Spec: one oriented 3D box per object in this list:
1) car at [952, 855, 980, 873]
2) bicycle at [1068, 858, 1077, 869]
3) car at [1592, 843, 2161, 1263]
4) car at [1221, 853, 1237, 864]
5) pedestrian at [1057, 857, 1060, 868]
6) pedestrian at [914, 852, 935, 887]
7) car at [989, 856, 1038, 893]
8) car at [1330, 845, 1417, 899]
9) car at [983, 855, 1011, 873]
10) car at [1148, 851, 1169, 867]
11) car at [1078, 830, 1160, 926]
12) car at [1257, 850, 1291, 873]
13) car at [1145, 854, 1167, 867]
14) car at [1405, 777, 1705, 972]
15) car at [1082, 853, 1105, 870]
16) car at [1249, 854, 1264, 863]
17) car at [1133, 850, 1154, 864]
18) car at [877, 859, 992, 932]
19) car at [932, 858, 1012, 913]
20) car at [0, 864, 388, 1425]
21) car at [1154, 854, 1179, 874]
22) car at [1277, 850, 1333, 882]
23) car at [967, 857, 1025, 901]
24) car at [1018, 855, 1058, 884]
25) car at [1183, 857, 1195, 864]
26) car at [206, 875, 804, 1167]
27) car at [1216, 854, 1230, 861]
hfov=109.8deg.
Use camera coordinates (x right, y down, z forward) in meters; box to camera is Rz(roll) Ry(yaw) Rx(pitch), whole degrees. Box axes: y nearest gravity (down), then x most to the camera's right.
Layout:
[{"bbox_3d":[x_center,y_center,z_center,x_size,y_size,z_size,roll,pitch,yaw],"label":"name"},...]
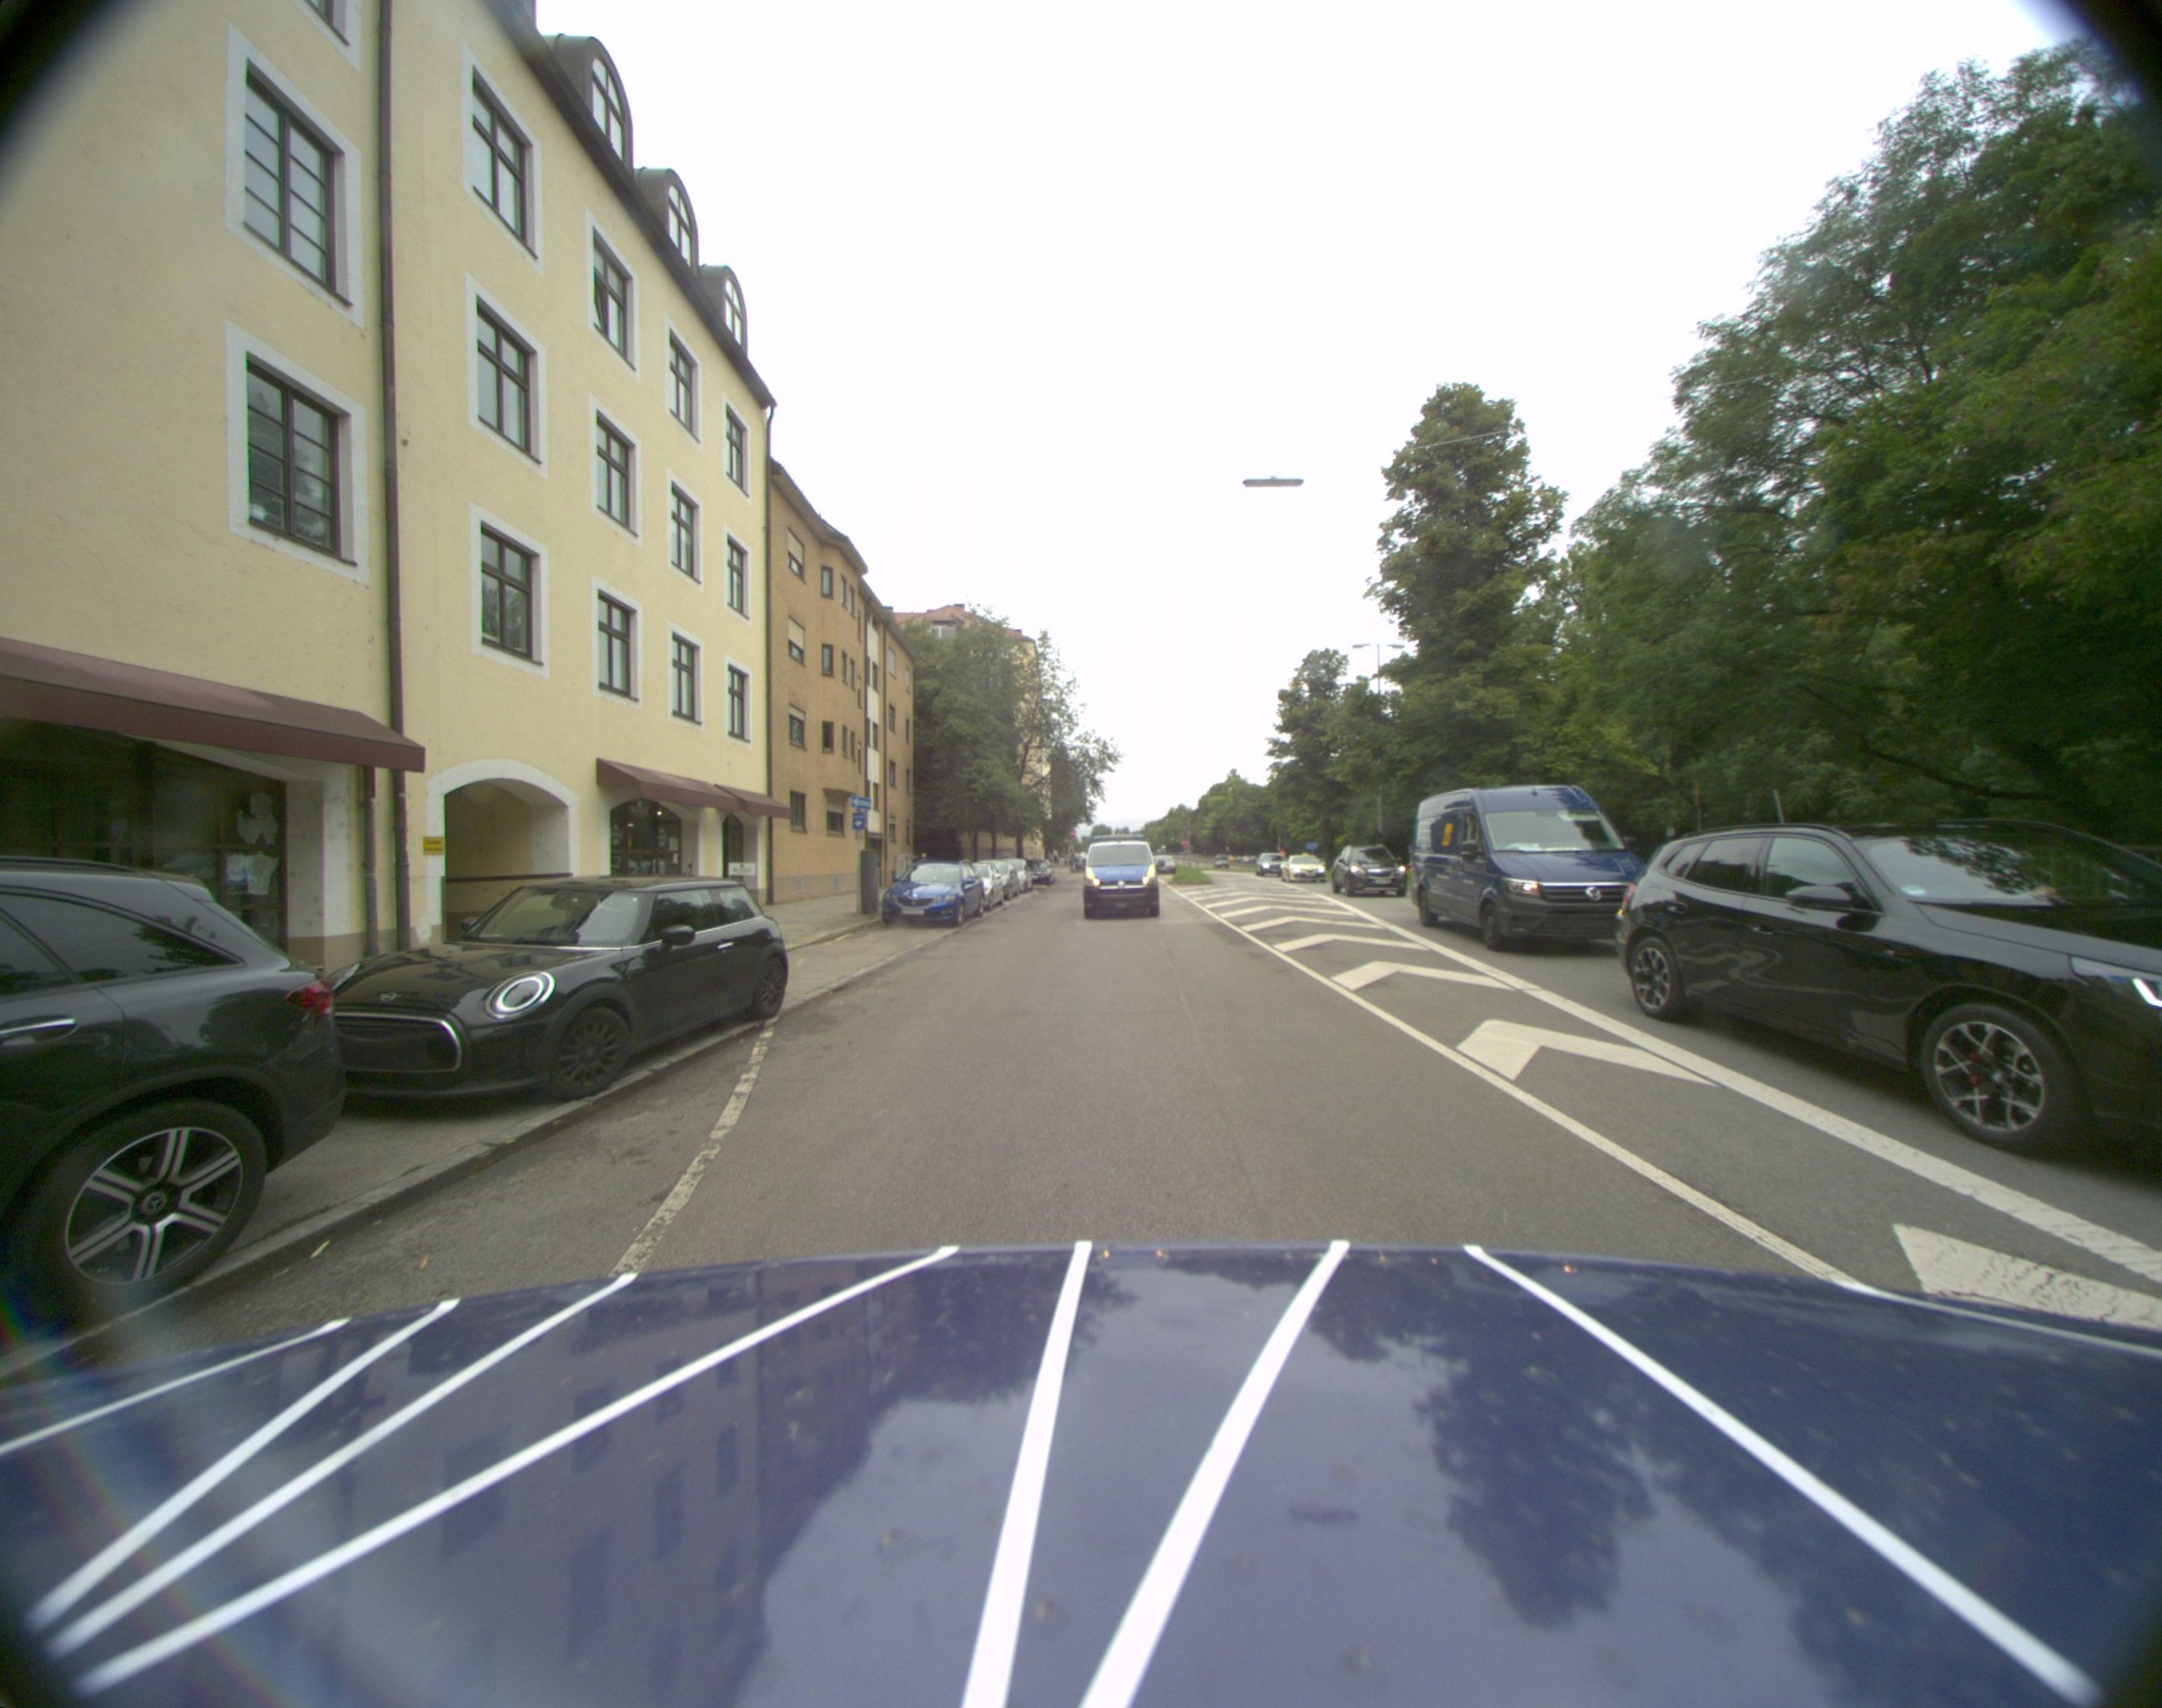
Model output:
[{"bbox_3d":[-9.813,0.859,65.101,1.917,1.458,4.244,0,0,-2],"label":"car"},{"bbox_3d":[-0.770,0.917,72.609,0.632,1.031,1.736,0,0,7],"label":"bicycle"},{"bbox_3d":[5.515,0.743,4.900,1.916,1.577,4.833,0,1,11],"label":"car"},{"bbox_3d":[23.277,0.701,119.509,1.865,1.549,4.000,-1,0,1],"label":"car"},{"bbox_3d":[-3.921,1.500,131.666,0.458,2.002,0.617,0,0,-17],"label":"pedestrian"},{"bbox_3d":[-7.325,0.710,35.590,0.672,1.614,0.980,-1,1,3],"label":"pedestrian"},{"bbox_3d":[-2.914,0.867,33.514,1.632,1.487,3.821,1,0,2],"label":"car"},{"bbox_3d":[9.509,0.535,25.053,1.990,1.618,4.277,0,0,11],"label":"car"},{"bbox_3d":[-7.168,0.827,65.347,2.054,1.458,4.244,0,0,-2],"label":"car"},{"bbox_3d":[7.898,0.511,77.471,1.991,1.556,4.284,0,0,4],"label":"car"},{"bbox_3d":[0.967,0.512,19.710,1.856,2.198,4.553,-1,1,3],"label":"car"},{"bbox_3d":[13.787,0.537,54.513,1.991,1.556,4.276,0,0,9],"label":"car"},{"bbox_3d":[8.689,0.689,88.580,1.992,1.447,4.281,0,0,-2],"label":"car"},{"bbox_3d":[7.266,0.219,12.627,2.187,2.450,5.855,0,1,10],"label":"car"},{"bbox_3d":[1.261,0.734,74.899,2.129,1.556,4.508,-2,0,2],"label":"car"},{"bbox_3d":[32.349,0.821,140.434,1.866,1.736,4.000,-1,0,1],"label":"car"},{"bbox_3d":[8.028,0.408,98.246,2.075,1.692,5.089,-1,0,-2],"label":"car"},{"bbox_3d":[-3.422,0.906,18.570,1.760,1.487,4.488,1,0,2],"label":"car"},{"bbox_3d":[-3.252,0.910,23.551,1.694,1.487,4.434,1,0,2],"label":"car"},{"bbox_3d":[-4.203,0.897,1.222,1.761,1.669,4.707,1,0,2],"label":"car"},{"bbox_3d":[6.945,0.774,61.699,1.902,1.556,4.773,0,0,6],"label":"car"},{"bbox_3d":[11.736,0.592,40.046,1.991,1.556,4.656,0,0,6],"label":"car"},{"bbox_3d":[-3.154,0.895,28.840,1.632,1.487,3.787,1,0,2],"label":"car"},{"bbox_3d":[-2.361,0.820,42.696,1.796,1.488,4.376,2,0,2],"label":"car"},{"bbox_3d":[22.752,1.330,160.812,1.832,1.438,4.235,0,0,-2],"label":"car"},{"bbox_3d":[-3.965,0.978,6.181,1.760,1.487,3.824,1,0,5],"label":"car"},{"bbox_3d":[29.183,0.801,156.329,1.897,1.438,4.032,0,0,-4],"label":"car"}]
